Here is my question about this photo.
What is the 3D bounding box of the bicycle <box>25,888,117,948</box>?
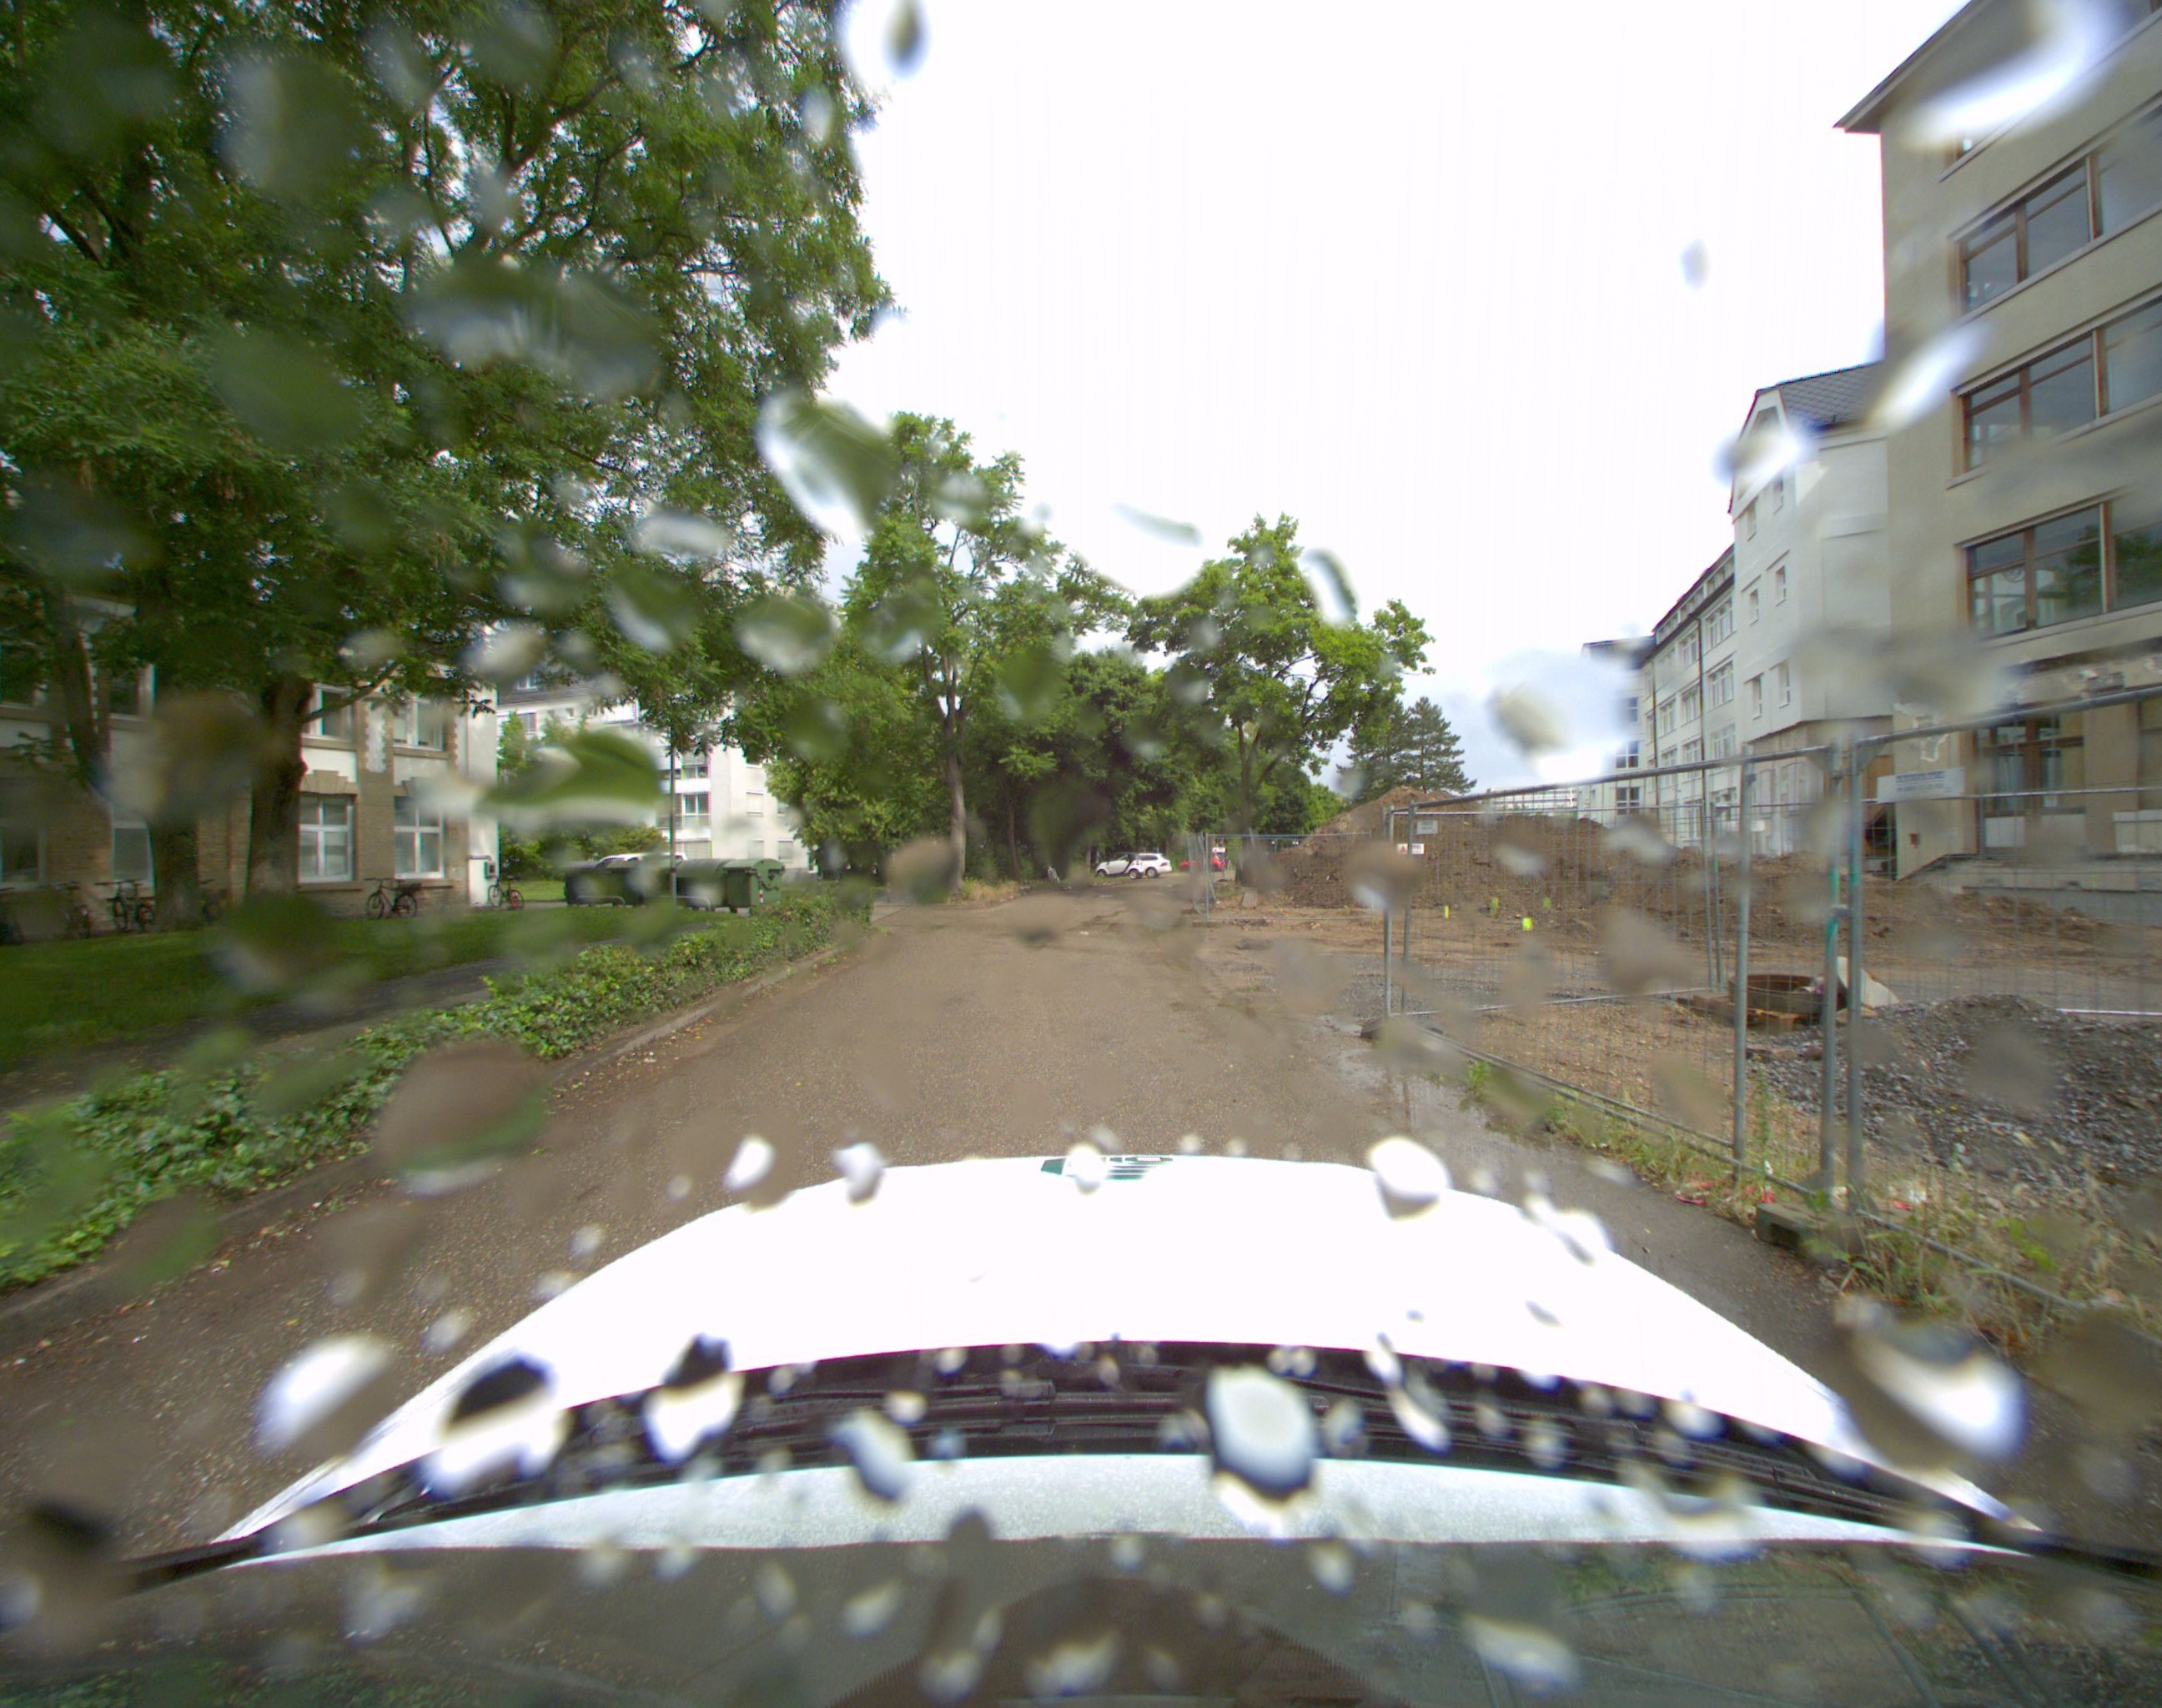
[{"bbox_3d":[-19.914,1.254,16.055,1.903,1.116,0.621,-2,0,23],"label":"bicycle"}]

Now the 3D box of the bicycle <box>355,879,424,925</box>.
[{"bbox_3d":[-17.867,1.239,21.042,1.766,1.116,0.621,-2,0,23],"label":"bicycle"}]

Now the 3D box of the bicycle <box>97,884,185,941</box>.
[{"bbox_3d":[-19.595,1.215,16.968,1.903,1.116,0.621,-2,0,23],"label":"bicycle"}]

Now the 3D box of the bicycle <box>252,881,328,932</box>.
[{"bbox_3d":[-18.651,1.238,19.195,1.766,1.116,0.621,-2,0,23],"label":"bicycle"}]

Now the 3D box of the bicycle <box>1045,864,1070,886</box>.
[{"bbox_3d":[-0.983,0.896,34.979,0.471,0.860,1.464,0,1,24],"label":"bicycle"}]

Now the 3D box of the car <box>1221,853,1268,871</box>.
[{"bbox_3d":[14.777,0.725,73.554,3.911,1.516,1.814,0,1,18],"label":"car"}]

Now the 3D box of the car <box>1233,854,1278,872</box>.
[{"bbox_3d":[16.497,0.820,76.914,3.953,1.560,1.773,0,1,20],"label":"car"}]

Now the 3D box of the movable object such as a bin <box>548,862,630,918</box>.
[{"bbox_3d":[-13.824,1.010,22.901,1.576,1.483,1.174,-2,1,18],"label":"movable object such as a bin"}]

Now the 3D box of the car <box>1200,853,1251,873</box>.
[{"bbox_3d":[11.868,0.738,66.760,3.759,1.529,1.920,0,1,24],"label":"car"}]

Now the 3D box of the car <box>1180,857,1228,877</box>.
[{"bbox_3d":[9.476,0.958,62.717,3.253,1.425,1.602,0,1,26],"label":"car"}]

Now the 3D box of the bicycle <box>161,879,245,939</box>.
[{"bbox_3d":[-19.216,1.204,17.822,1.903,1.224,0.621,-2,0,23],"label":"bicycle"}]

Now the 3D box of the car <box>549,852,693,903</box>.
[{"bbox_3d":[-19.025,0.962,33.965,2.073,1.926,4.918,-2,-2,26],"label":"car"}]

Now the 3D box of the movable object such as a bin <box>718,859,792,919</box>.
[{"bbox_3d":[-8.302,0.872,20.728,1.466,1.473,1.111,-2,-2,34],"label":"movable object such as a bin"}]

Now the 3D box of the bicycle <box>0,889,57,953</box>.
[{"bbox_3d":[-20.281,1.261,15.415,1.903,1.116,0.621,-2,0,23],"label":"bicycle"}]

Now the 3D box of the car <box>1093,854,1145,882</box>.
[{"bbox_3d":[2.205,0.792,46.588,2.735,1.484,1.598,-1,1,11],"label":"car"}]

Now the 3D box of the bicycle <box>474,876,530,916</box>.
[{"bbox_3d":[-16.789,1.224,23.612,1.502,1.116,0.621,-2,0,23],"label":"bicycle"}]

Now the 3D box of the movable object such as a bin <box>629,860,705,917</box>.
[{"bbox_3d":[-11.044,0.900,21.767,1.386,1.483,1.174,-1,-1,19],"label":"movable object such as a bin"}]

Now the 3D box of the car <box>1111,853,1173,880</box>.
[{"bbox_3d":[3.669,0.748,48.600,3.409,1.468,1.746,-1,1,11],"label":"car"}]

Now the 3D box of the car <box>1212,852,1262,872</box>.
[{"bbox_3d":[13.669,0.682,71.447,4.074,1.650,1.856,0,1,18],"label":"car"}]

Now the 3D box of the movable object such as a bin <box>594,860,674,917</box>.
[{"bbox_3d":[-12.330,0.942,22.486,1.480,1.483,1.174,-2,1,18],"label":"movable object such as a bin"}]

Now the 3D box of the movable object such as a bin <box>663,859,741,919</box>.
[{"bbox_3d":[-9.792,0.888,21.078,1.387,1.483,1.173,0,-1,17],"label":"movable object such as a bin"}]

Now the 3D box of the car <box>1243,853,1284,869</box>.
[{"bbox_3d":[18.345,0.664,81.838,3.825,1.573,1.968,0,1,20],"label":"car"}]

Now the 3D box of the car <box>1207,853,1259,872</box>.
[{"bbox_3d":[12.811,0.682,68.708,3.952,1.496,2.005,0,1,23],"label":"car"}]
